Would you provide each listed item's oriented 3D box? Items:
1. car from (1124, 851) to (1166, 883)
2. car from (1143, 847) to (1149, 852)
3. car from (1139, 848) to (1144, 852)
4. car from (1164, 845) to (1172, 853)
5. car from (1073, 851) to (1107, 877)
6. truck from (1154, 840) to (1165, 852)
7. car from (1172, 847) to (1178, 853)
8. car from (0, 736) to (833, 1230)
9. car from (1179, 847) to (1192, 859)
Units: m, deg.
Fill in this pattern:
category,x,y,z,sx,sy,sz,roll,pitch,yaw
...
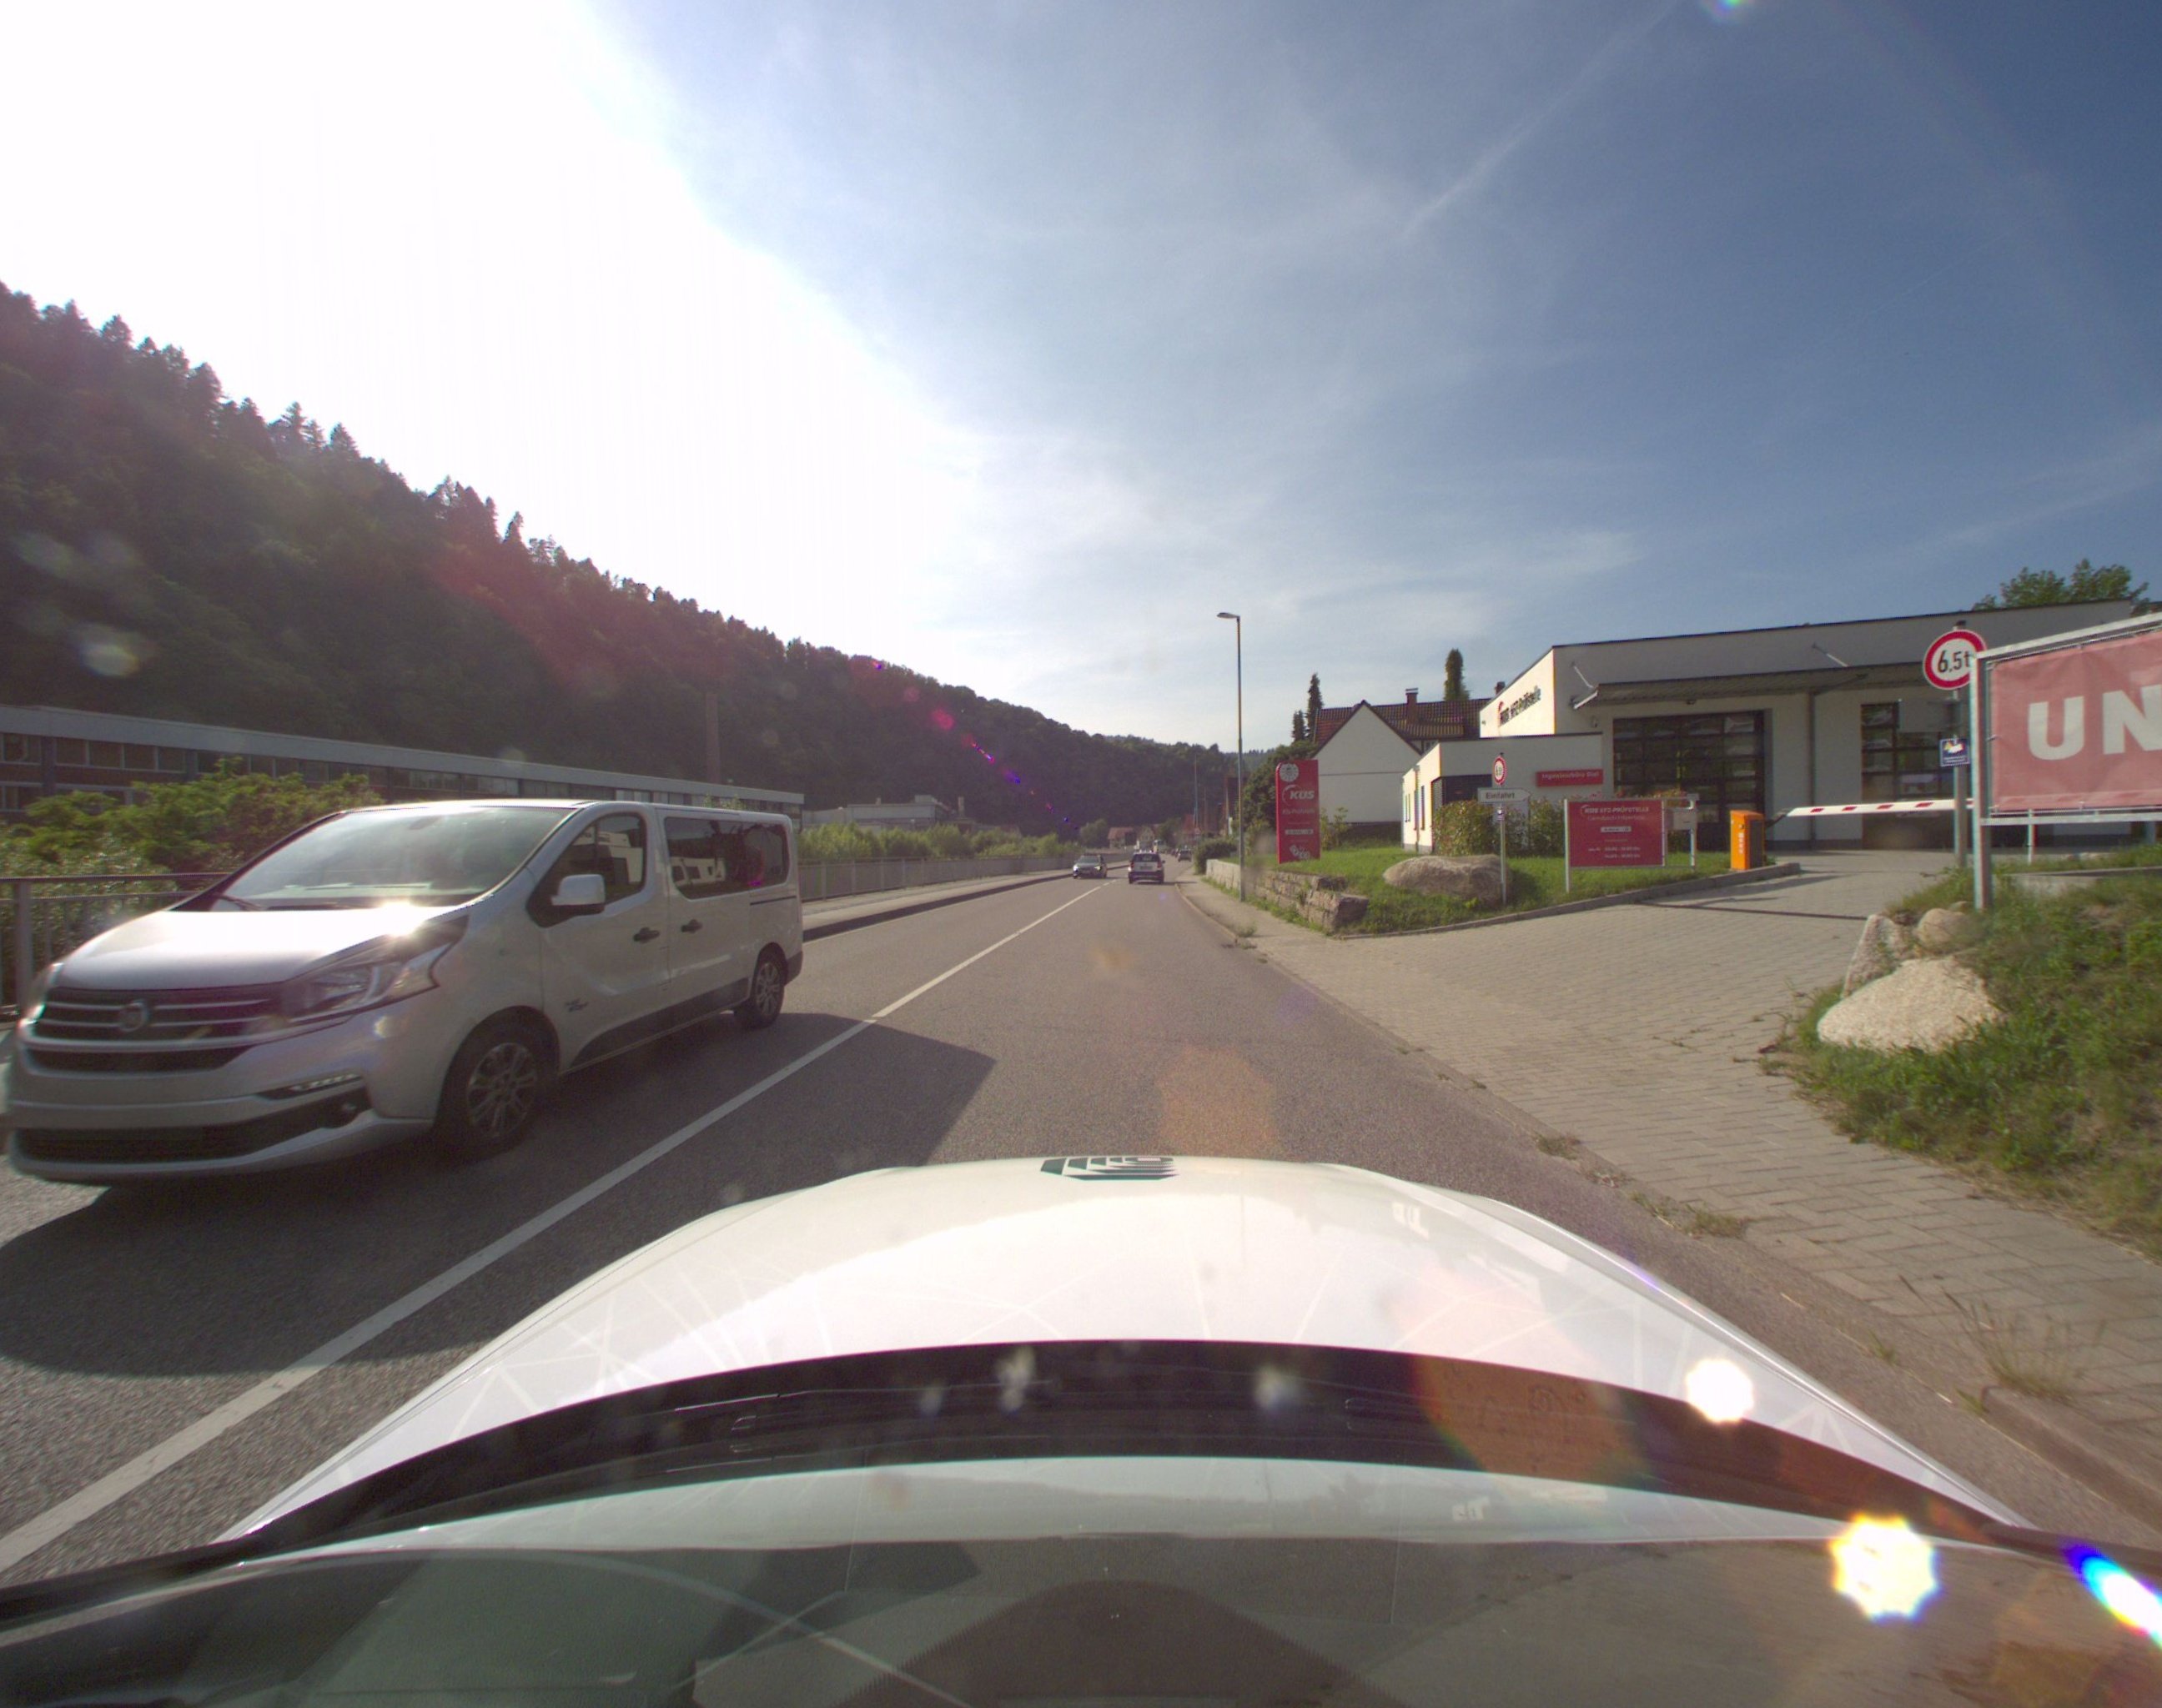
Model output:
category,x,y,z,sx,sy,sz,roll,pitch,yaw
car,3.405,0.642,42.949,1.850,1.544,4.384,-1,0,9
car,18.006,-1.344,226.123,1.427,1.383,3.138,-1,1,3
car,18.962,-1.279,255.891,1.358,1.278,3.087,-1,-1,5
car,20.937,-1.195,196.494,1.664,1.752,3.457,-1,1,9
car,0.617,0.621,50.916,1.805,1.484,4.804,-1,-1,5
truck,21.813,-2.207,226.455,2.716,3.374,6.488,-1,1,5
car,19.639,-0.810,170.309,1.357,1.278,3.088,-1,-1,6
car,-3.791,0.561,5.889,1.910,1.967,5.154,-2,-1,6
car,13.788,-0.164,106.959,1.613,1.542,3.285,-1,-1,8
